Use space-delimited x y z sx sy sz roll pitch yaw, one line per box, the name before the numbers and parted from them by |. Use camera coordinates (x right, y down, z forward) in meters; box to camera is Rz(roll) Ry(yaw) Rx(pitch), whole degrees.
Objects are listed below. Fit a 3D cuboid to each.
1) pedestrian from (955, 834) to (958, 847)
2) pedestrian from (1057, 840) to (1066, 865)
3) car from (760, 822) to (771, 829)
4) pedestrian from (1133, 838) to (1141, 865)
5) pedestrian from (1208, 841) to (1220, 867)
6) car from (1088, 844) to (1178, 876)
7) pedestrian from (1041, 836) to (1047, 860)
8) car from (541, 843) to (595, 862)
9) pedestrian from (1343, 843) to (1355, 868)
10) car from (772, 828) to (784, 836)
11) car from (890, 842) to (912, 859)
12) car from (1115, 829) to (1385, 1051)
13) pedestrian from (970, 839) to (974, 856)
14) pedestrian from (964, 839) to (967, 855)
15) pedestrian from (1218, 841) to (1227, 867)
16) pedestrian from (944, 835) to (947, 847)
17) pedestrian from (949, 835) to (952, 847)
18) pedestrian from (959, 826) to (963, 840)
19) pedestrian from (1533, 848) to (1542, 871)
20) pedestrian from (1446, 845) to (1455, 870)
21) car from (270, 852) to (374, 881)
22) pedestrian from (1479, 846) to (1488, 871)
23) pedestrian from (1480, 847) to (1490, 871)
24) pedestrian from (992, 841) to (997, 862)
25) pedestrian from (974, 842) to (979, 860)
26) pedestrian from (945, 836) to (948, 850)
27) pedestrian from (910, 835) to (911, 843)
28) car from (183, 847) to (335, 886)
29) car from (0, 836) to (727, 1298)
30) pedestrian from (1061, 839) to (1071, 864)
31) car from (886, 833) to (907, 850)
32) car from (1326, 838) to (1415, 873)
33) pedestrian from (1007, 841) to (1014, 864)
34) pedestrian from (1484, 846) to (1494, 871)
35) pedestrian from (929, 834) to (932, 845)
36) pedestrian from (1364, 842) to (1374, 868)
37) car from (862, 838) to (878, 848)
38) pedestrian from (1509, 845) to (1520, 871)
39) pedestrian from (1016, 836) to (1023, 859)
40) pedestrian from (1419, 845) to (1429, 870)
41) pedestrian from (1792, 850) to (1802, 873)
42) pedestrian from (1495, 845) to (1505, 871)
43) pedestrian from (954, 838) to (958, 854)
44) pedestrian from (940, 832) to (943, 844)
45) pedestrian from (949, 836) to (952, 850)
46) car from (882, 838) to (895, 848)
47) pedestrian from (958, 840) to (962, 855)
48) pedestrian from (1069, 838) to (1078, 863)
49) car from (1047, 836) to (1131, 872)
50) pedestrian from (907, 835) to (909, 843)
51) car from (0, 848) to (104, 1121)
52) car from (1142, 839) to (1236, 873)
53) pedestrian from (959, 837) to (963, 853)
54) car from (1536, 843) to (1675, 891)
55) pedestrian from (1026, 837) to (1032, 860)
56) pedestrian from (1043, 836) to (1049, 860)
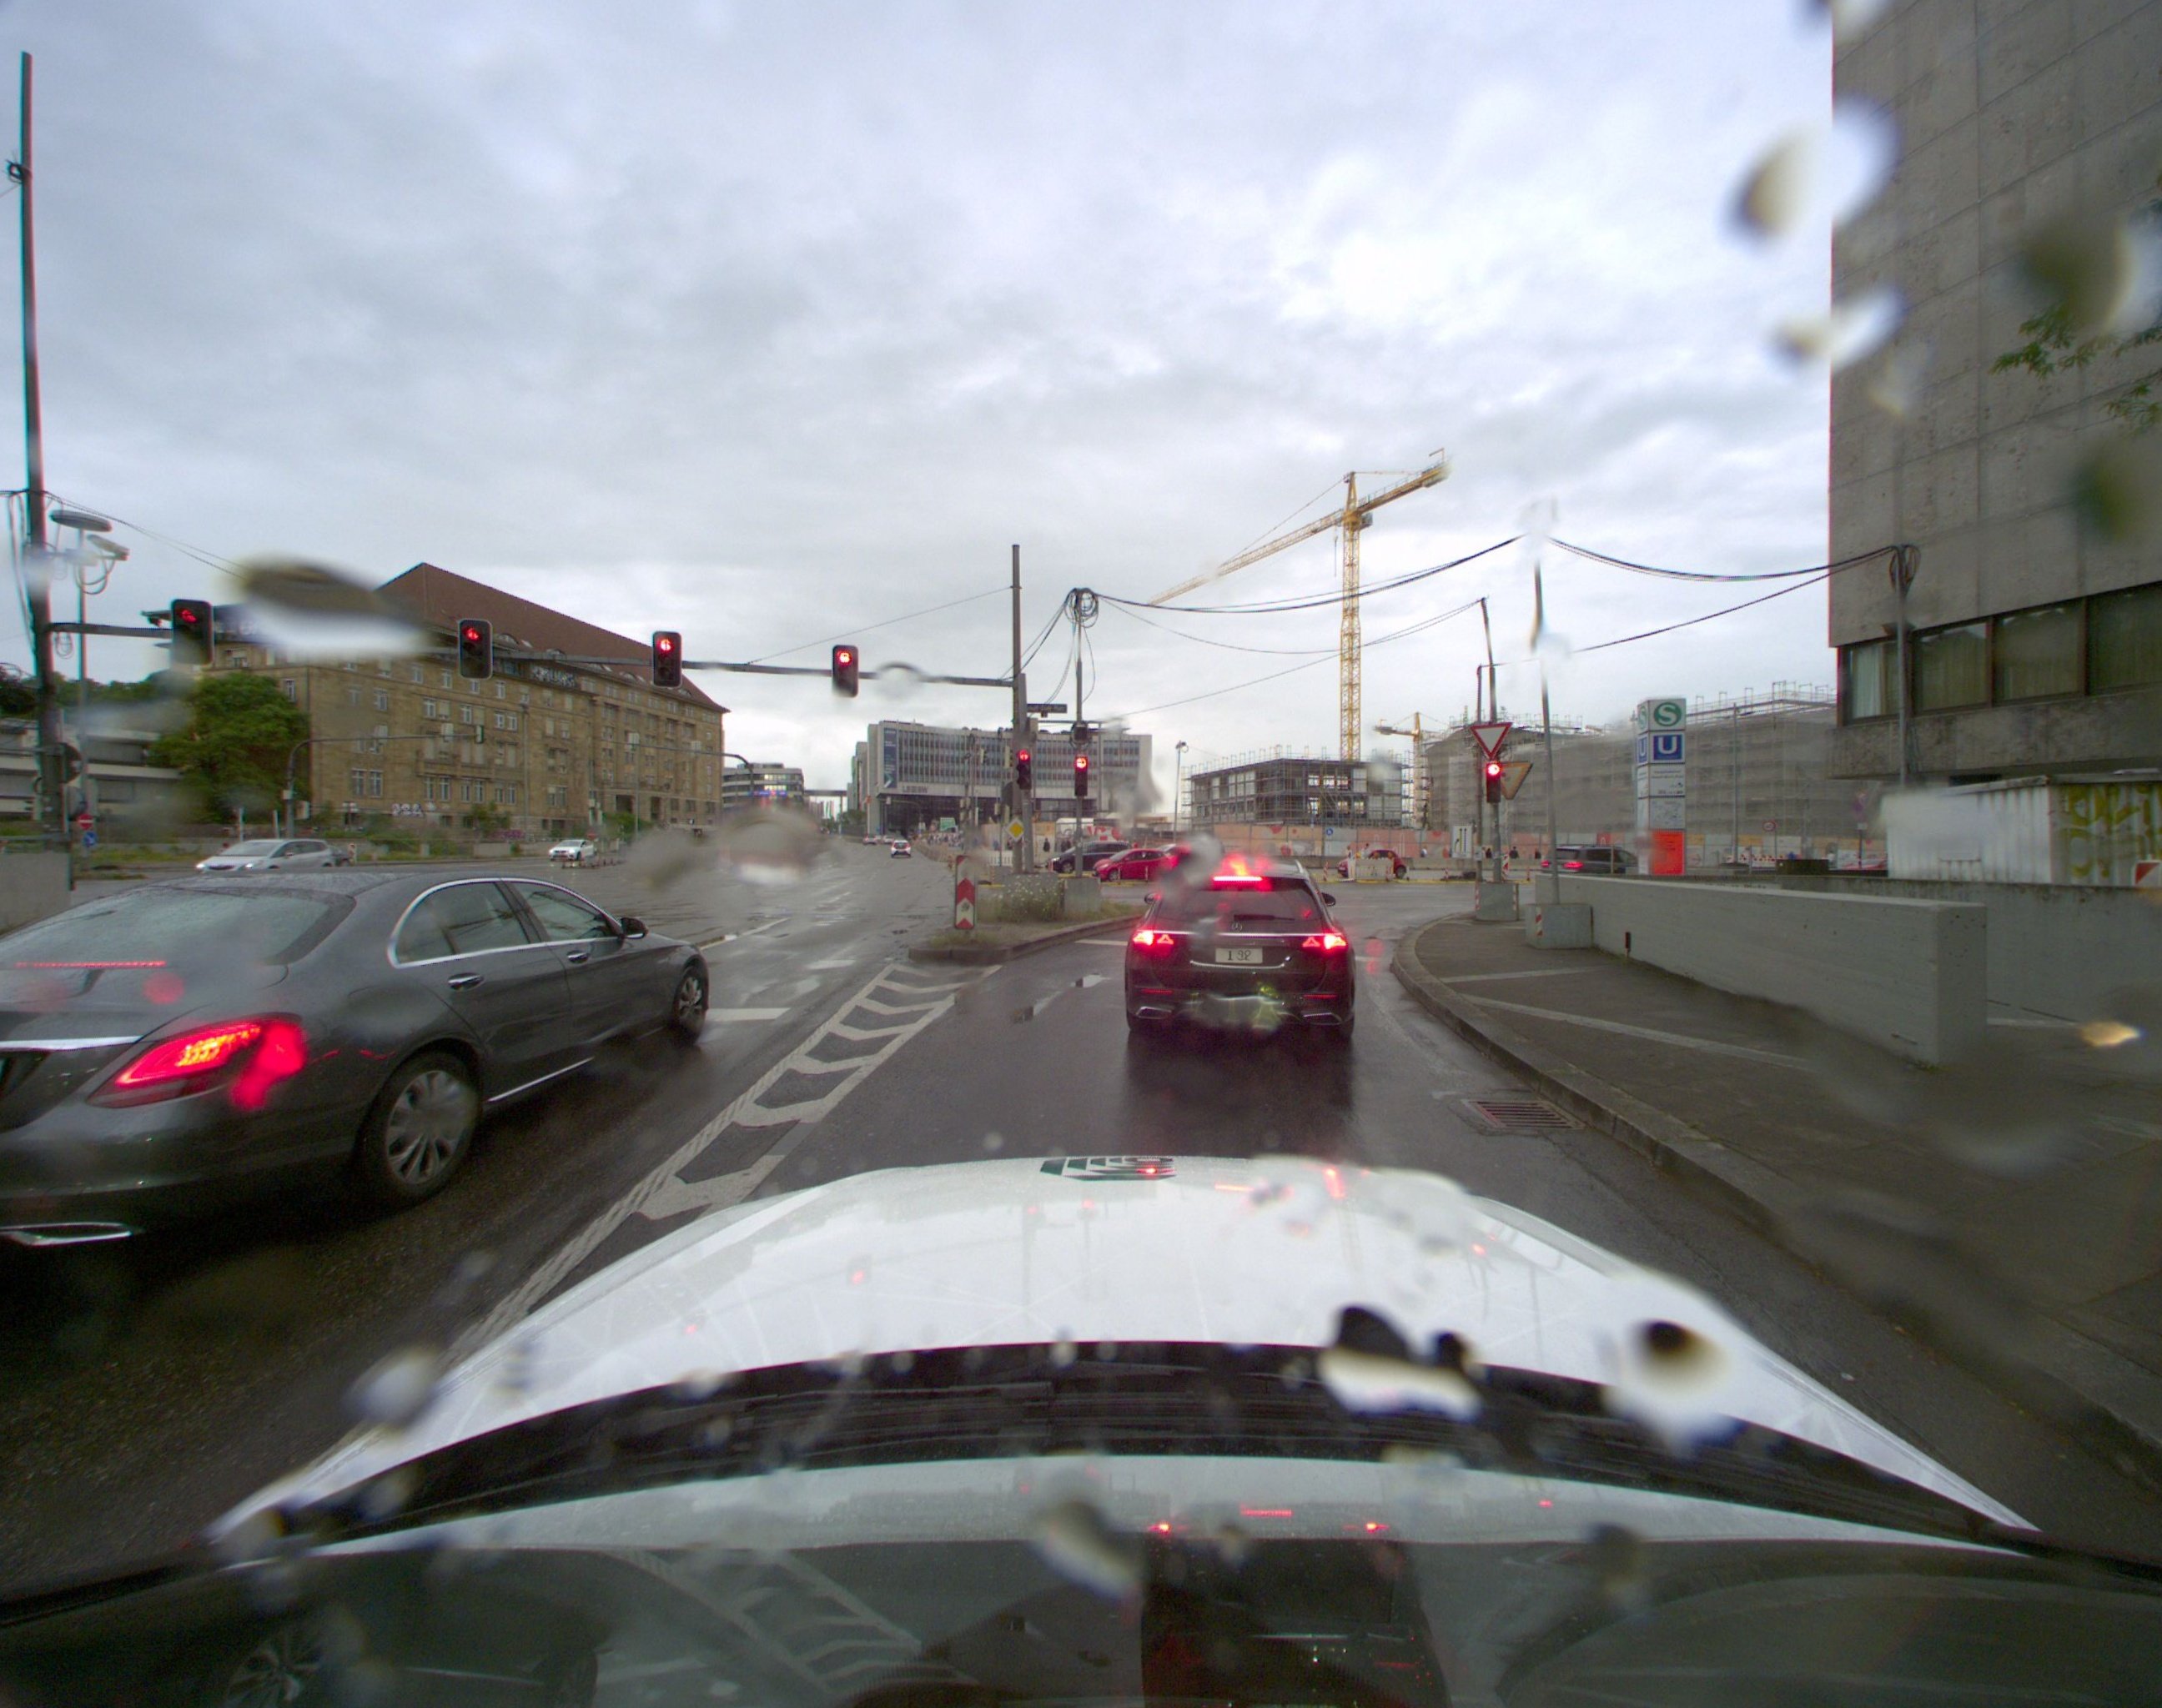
pedestrian | -18.709 -1.962 121.988 0.362 1.898 0.573 1 -1 -16
pedestrian | -1.476 -0.117 62.280 0.570 1.898 0.364 0 -1 15
car | -90.340 -8.082 232.861 2.008 1.816 3.957 1 -1 -35
pedestrian | 4.098 -0.183 59.269 0.572 1.898 0.362 1 -1 4
pedestrian | 9.866 -0.011 60.313 0.656 1.901 0.629 1 -1 -12
car | 2.219 0.270 35.164 3.542 1.304 1.656 1 -1 -17
pedestrian | -2.998 -0.494 66.168 0.362 1.898 0.572 1 -1 -20
car | -35.034 -0.074 55.720 1.768 1.260 3.985 1 -1 -11
pedestrian | 20.563 0.137 62.501 0.656 1.901 0.629 1 -1 -12
car | -76.936 -5.548 206.632 2.007 2.014 3.960 1 -1 -32
car | -16.280 -0.290 73.887 1.780 1.473 3.547 1 -1 -10
car | 1.443 0.629 7.802 1.881 1.544 4.001 1 -1 7
pedestrian | -12.093 -0.703 90.156 0.362 1.898 0.573 1 -1 -16
pedestrian | -13.924 -0.859 98.189 0.362 1.898 0.573 1 -1 -16
pedestrian | 10.376 0.010 59.602 0.574 1.898 0.361 1 -1 -10
pedestrian | -21.201 -1.994 127.639 0.362 1.898 0.573 1 -1 -16
pedestrian | -20.437 -2.015 127.901 0.362 1.898 0.573 1 -1 -16
pedestrian | -16.469 -2.824 111.768 0.362 1.898 0.573 1 -1 -16
pedestrian | 36.913 0.453 65.829 0.575 1.898 0.360 1 -1 -14
pedestrian | 28.471 0.294 62.761 0.574 1.898 0.361 1 -1 -10
car | -34.778 0.574 37.478 1.625 1.260 4.061 1 -1 -13
pedestrian | 31.182 0.326 63.072 0.574 1.898 0.361 1 -1 -10
pedestrian | 31.925 0.365 64.365 0.575 1.898 0.360 1 -1 -14
pedestrian | -7.847 -0.192 73.930 0.362 1.898 0.572 1 -1 -20
pedestrian | -10.811 -0.294 84.248 0.362 1.898 0.573 1 -1 -16
pedestrian | -18.696 -1.550 113.217 0.362 1.898 0.573 1 -1 -16
pedestrian | -38.109 -3.374 181.934 0.361 1.898 0.574 1 -1 -13
car | -29.501 0.449 29.430 1.768 1.260 4.178 1 -1 -11
car | -3.780 0.671 4.685 1.780 1.402 4.479 1 -1 -4
pedestrian | -1.120 -0.191 60.326 0.569 1.898 0.364 0 -1 23
car | -21.381 -1.430 94.193 1.999 1.766 4.392 1 -1 -18
car | 15.139 0.089 42.640 3.995 1.708 1.989 1 -1 -16
pedestrian | -5.675 -0.122 65.357 0.363 1.898 0.572 1 -1 -24
pedestrian | 31.229 0.315 62.272 0.574 1.898 0.361 1 -1 -10
pedestrian | -25.867 -2.545 139.784 0.362 1.898 0.573 1 -1 -16
pedestrian | 21.331 0.067 60.253 0.574 1.898 0.361 1 -1 -10
car | -36.150 -1.906 139.477 2.002 1.640 3.970 1 -1 -23
pedestrian | 32.423 0.312 60.919 0.574 1.898 0.361 1 -1 -10
pedestrian | -5.113 -0.503 67.561 0.362 1.898 0.572 1 -1 -21
pedestrian | 26.128 0.253 62.068 0.574 1.898 0.361 1 -1 -10
pedestrian | 61.373 0.647 69.835 0.574 1.898 0.361 1 -1 -10
pedestrian | 31.610 0.309 61.411 0.574 1.898 0.361 1 -1 -10
pedestrian | -15.315 -0.970 99.593 0.362 1.898 0.573 1 -1 -16
pedestrian | -23.661 -2.680 137.795 0.362 1.898 0.573 1 -1 -16
pedestrian | -18.145 -1.538 113.472 0.361 1.898 0.574 1 -1 -12
car | -34.420 -1.921 145.460 1.733 1.639 3.412 1 2 -20
pedestrian | -14.799 -0.804 99.818 0.362 1.898 0.573 1 -1 -16
pedestrian | -0.591 -0.251 61.479 0.569 1.898 0.364 0 -2 44
car | 0.382 0.028 42.392 3.993 1.734 1.990 1 -1 -15
pedestrian | -38.584 -3.379 182.016 0.361 1.898 0.574 1 -1 -13
car | -6.756 0.682 2.410 1.884 1.515 4.994 1 -1 -5
car | 5.171 0.125 39.066 4.050 1.552 1.988 1 -1 -18
pedestrian | -14.440 -1.068 97.981 0.362 1.898 0.573 1 -1 -16
car | 20.695 0.530 32.134 5.103 1.798 1.986 1 -1 -20
pedestrian | -4.358 -0.487 67.944 0.362 1.898 0.572 1 -1 -20
pedestrian | -2.848 -0.494 66.033 0.362 1.898 0.572 1 -1 -20
